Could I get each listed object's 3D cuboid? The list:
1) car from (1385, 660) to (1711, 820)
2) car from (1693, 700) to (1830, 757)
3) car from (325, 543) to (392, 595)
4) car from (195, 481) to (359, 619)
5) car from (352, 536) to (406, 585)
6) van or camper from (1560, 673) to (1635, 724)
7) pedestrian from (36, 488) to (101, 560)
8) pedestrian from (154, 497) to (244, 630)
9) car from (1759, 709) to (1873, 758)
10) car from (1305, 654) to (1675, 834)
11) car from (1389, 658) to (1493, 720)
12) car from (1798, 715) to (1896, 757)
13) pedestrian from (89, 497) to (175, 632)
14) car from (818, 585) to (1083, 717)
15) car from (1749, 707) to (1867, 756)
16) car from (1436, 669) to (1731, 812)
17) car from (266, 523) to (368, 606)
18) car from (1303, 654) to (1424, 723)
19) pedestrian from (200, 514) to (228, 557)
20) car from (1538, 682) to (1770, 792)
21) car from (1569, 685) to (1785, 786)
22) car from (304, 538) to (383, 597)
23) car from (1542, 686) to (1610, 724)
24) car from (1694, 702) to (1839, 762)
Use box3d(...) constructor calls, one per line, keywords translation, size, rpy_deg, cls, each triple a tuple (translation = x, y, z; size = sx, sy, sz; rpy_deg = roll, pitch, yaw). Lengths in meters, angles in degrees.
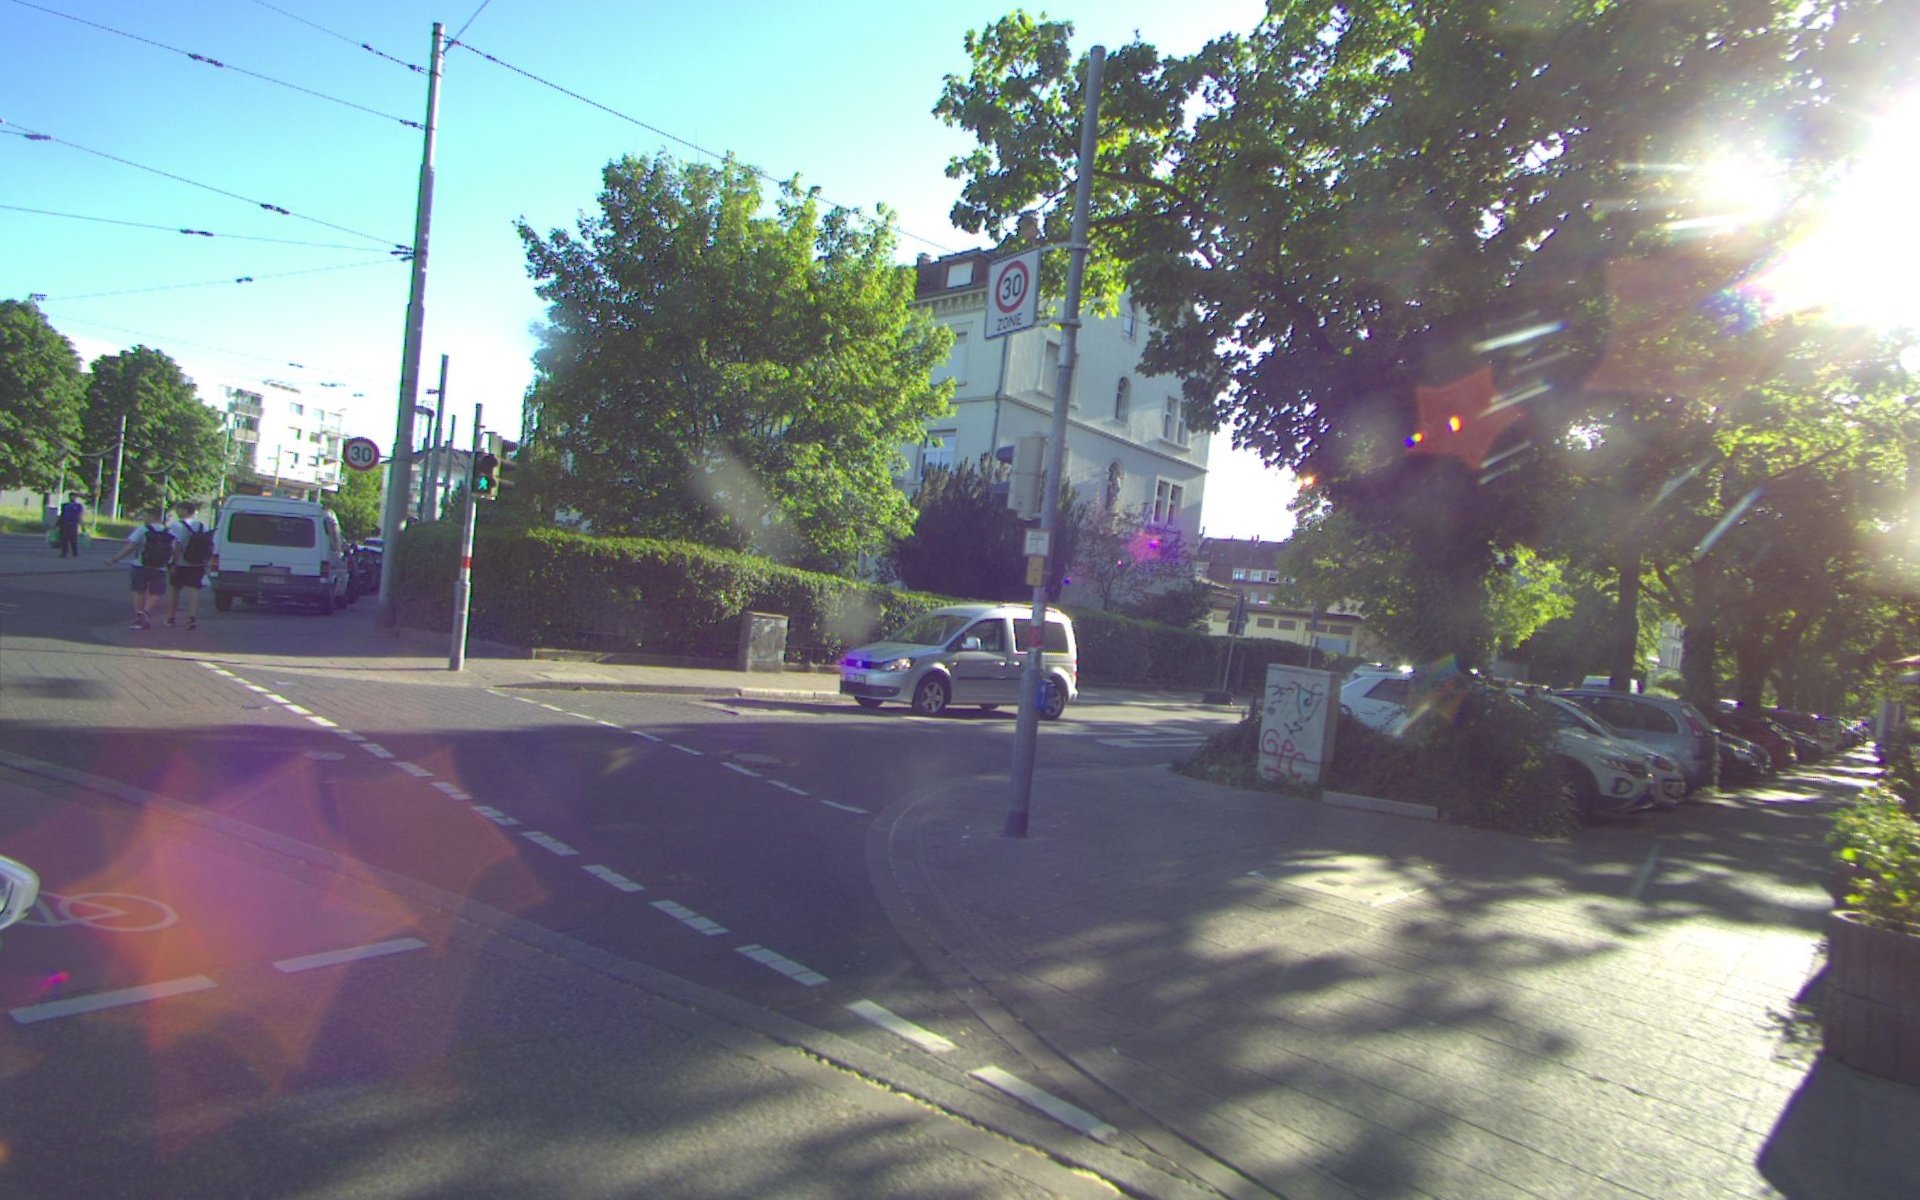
box3d(translation=(8.696, 1.982, 15.051), size=(3.850, 1.638, 1.708), rpy_deg=(6, 0, 41), cls="car")
box3d(translation=(30.086, 4.775, 37.829), size=(3.817, 1.498, 1.708), rpy_deg=(6, 0, 41), cls="car")
box3d(translation=(-20.902, -1.104, 35.072), size=(1.786, 1.495, 3.910), rpy_deg=(7, 0, -30), cls="car")
box3d(translation=(-13.869, -0.943, 20.708), size=(2.072, 2.304, 4.278), rpy_deg=(7, -2, -27), cls="car")
box3d(translation=(-26.534, -1.814, 46.029), size=(1.785, 1.951, 3.913), rpy_deg=(6, 0, -27), cls="car")
box3d(translation=(34.882, 5.388, 54.960), size=(2.340, 2.366, 4.987), rpy_deg=(6, -1, 44), cls="van or camper")
box3d(translation=(-24.205, -2.038, 27.330), size=(0.949, 1.815, 0.989), rpy_deg=(6, 0, -26), cls="pedestrian")
box3d(translation=(-11.362, -0.538, 15.044), size=(0.693, 1.869, 0.699), rpy_deg=(6, 1, -12), cls="pedestrian")
box3d(translation=(39.360, 6.119, 46.349), size=(3.817, 1.609, 1.708), rpy_deg=(6, 0, 41), cls="car")
box3d(translation=(6.957, 1.789, 13.432), size=(3.978, 1.600, 1.702), rpy_deg=(6, 0, 41), cls="car")
box3d(translation=(17.212, 3.220, 35.929), size=(1.974, 1.838, 4.304), rpy_deg=(6, -1, 44), cls="car")
box3d(translation=(48.266, 7.372, 54.830), size=(3.817, 1.609, 1.708), rpy_deg=(6, 0, 41), cls="car")
box3d(translation=(-11.785, -0.497, 14.326), size=(0.608, 1.814, 0.698), rpy_deg=(7, 1, 38), cls="pedestrian")
box3d(translation=(-0.057, 0.893, 16.491), size=(4.163, 1.835, 1.785), rpy_deg=(7, -3, -44), cls="car")
box3d(translation=(37.383, 5.779, 44.441), size=(3.817, 1.498, 1.708), rpy_deg=(6, 0, 41), cls="car")
box3d(translation=(10.238, 2.225, 16.670), size=(3.817, 1.638, 1.708), rpy_deg=(6, 0, 41), cls="car")
box3d(translation=(-16.337, -0.919, 25.735), size=(1.786, 1.785, 3.863), rpy_deg=(6, 0, -29), cls="car")
box3d(translation=(12.464, 2.748, 30.963), size=(1.974, 1.749, 3.978), rpy_deg=(6, -1, 44), cls="car")
box3d(translation=(-33.031, -2.836, 44.533), size=(0.672, 1.815, 0.989), rpy_deg=(6, 0, -26), cls="pedestrian")
box3d(translation=(14.806, 2.855, 21.561), size=(3.817, 1.638, 1.708), rpy_deg=(6, 0, 41), cls="car")
box3d(translation=(16.531, 3.067, 23.298), size=(3.817, 1.638, 1.708), rpy_deg=(6, 0, 41), cls="car")
box3d(translation=(-18.677, -1.011, 30.605), size=(1.786, 1.495, 3.910), rpy_deg=(7, 0, -30), cls="car")
box3d(translation=(30.824, 5.248, 50.279), size=(1.974, 1.548, 3.978), rpy_deg=(6, -1, 44), cls="car")
box3d(translation=(28.680, 4.652, 35.850), size=(3.817, 1.498, 1.708), rpy_deg=(6, 0, 41), cls="car")
